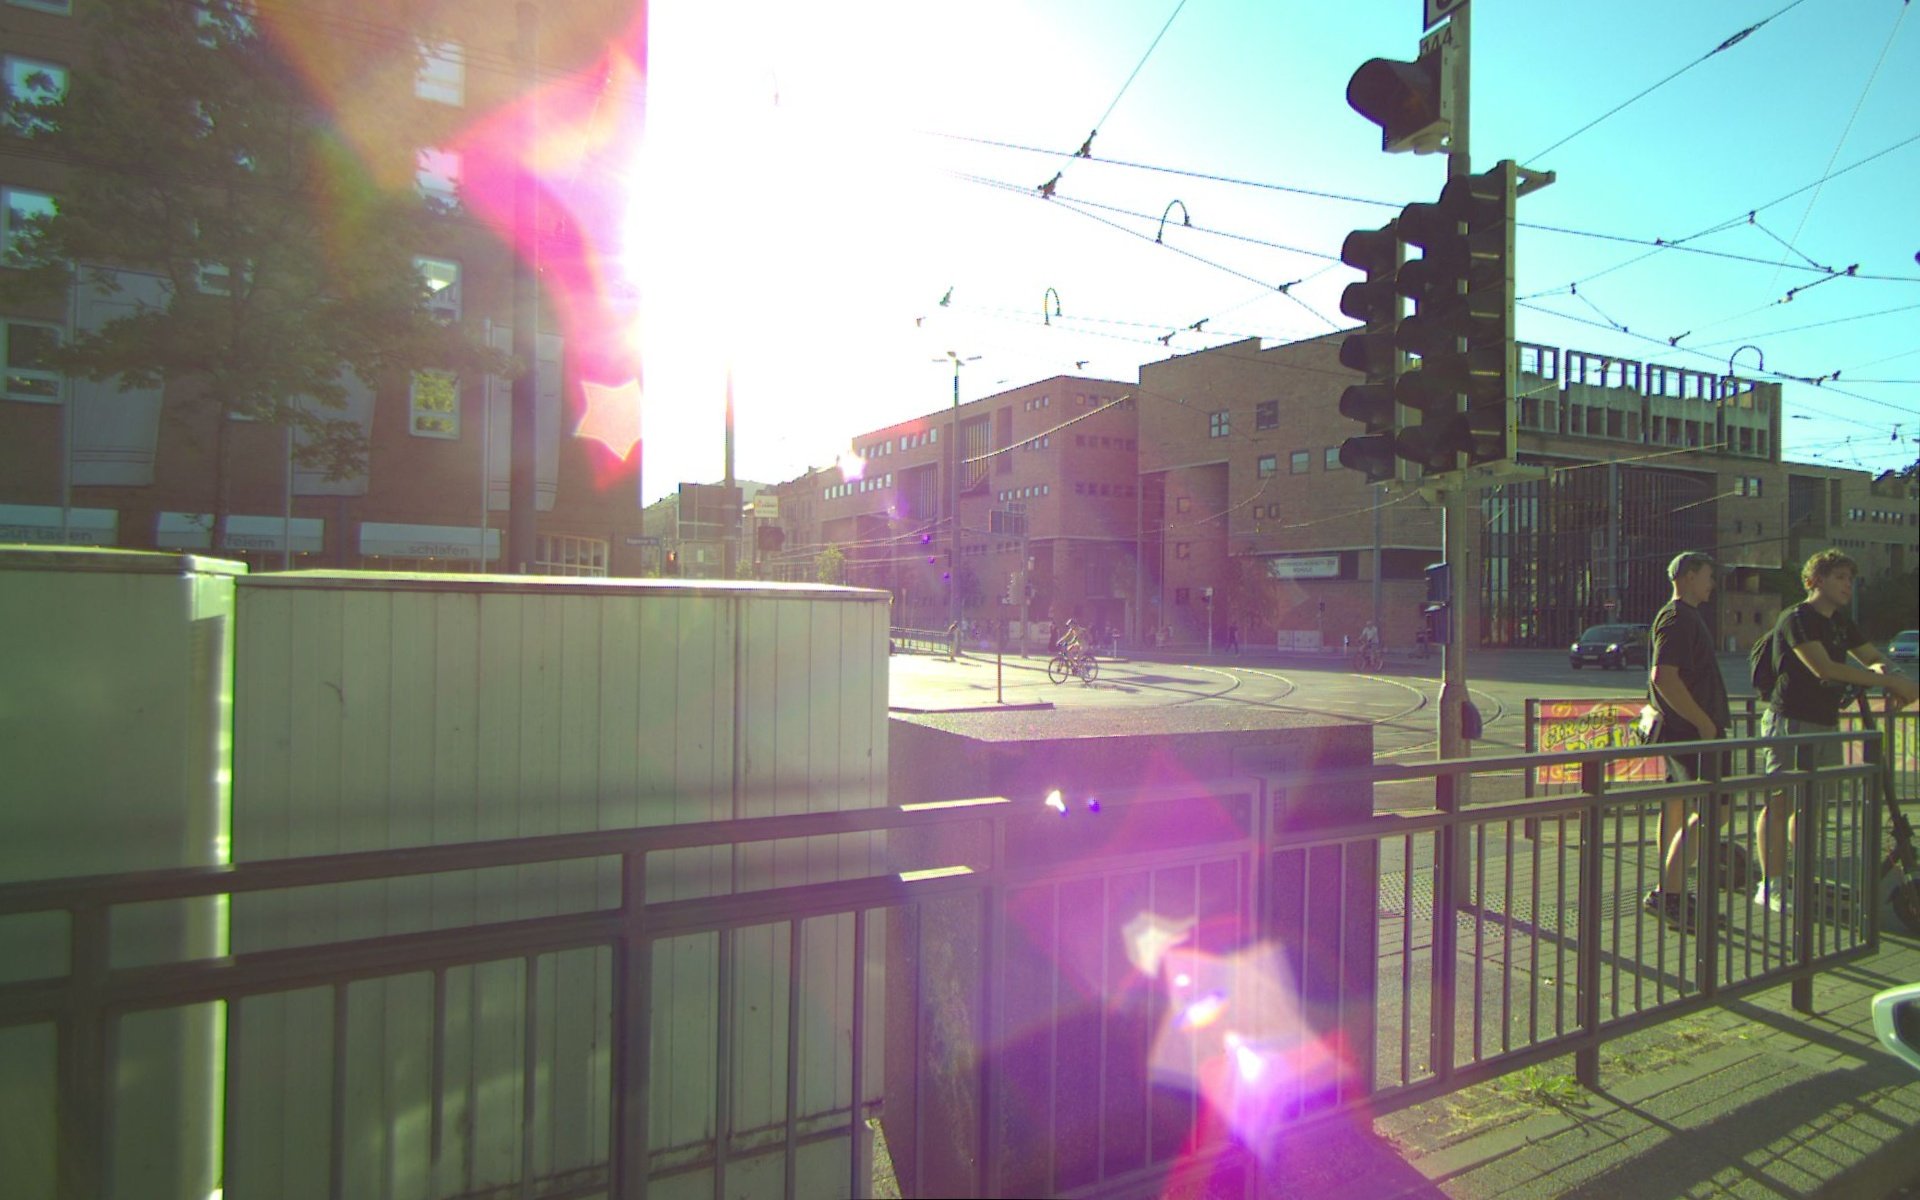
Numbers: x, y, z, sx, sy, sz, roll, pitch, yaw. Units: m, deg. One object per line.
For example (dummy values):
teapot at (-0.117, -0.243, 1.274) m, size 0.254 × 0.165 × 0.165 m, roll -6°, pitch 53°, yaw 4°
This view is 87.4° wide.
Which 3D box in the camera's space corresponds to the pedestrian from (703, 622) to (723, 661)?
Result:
pedestrian at (-11.729, 1.956, 47.663) m, size 0.597 × 1.843 × 0.848 m, roll 1°, pitch -1°, yaw -38°

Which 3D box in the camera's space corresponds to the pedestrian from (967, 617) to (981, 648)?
pedestrian at (0.934, 2.178, 67.288) m, size 0.644 × 2.040 × 0.780 m, roll 1°, pitch -1°, yaw -32°

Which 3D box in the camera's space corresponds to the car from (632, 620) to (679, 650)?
car at (-18.209, 2.063, 59.973) m, size 1.738 × 1.750 × 3.965 m, roll 1°, pitch -2°, yaw -32°

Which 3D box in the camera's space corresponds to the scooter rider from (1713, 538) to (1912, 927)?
scooter rider at (4.457, 0.655, 5.261) m, size 0.670 × 1.877 × 0.564 m, roll 3°, pitch -2°, yaw -25°

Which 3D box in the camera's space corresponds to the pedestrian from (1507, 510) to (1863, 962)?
pedestrian at (3.517, 0.593, 4.963) m, size 0.843 × 1.908 × 1.164 m, roll 1°, pitch -1°, yaw -25°

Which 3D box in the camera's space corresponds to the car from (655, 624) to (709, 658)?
car at (-15.222, 2.216, 54.936) m, size 1.739 × 1.750 × 3.963 m, roll 1°, pitch -2°, yaw -33°

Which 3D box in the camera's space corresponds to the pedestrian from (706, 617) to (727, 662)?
pedestrian at (-11.101, 1.783, 45.760) m, size 0.597 × 2.040 × 0.848 m, roll 1°, pitch -1°, yaw -38°

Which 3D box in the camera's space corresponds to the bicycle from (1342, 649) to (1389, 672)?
bicycle at (14.296, 2.124, 35.378) m, size 1.948 × 0.781 × 0.586 m, roll 1°, pitch -2°, yaw -35°

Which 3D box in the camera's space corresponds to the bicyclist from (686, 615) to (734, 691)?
bicyclist at (-5.333, 1.115, 21.425) m, size 0.751 × 1.581 × 0.677 m, roll -1°, pitch 0°, yaw -36°

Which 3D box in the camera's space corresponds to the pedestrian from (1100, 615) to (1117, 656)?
pedestrian at (7.357, 1.743, 49.714) m, size 0.603 × 2.040 × 0.731 m, roll 0°, pitch -1°, yaw 30°

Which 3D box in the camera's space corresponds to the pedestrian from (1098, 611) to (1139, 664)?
pedestrian at (6.312, 1.484, 39.976) m, size 1.193 × 2.040 × 1.028 m, roll 2°, pitch 0°, yaw -30°

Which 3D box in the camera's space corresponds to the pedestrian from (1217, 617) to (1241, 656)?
pedestrian at (13.406, 1.804, 50.016) m, size 0.866 × 1.927 × 0.718 m, roll 2°, pitch 0°, yaw -33°

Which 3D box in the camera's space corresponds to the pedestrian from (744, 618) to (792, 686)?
pedestrian at (-5.369, 1.436, 28.109) m, size 0.938 × 1.822 × 0.993 m, roll 2°, pitch 0°, yaw 15°

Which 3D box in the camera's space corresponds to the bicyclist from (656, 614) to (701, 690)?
bicyclist at (-6.101, 1.119, 21.788) m, size 0.752 × 1.595 × 0.656 m, roll 1°, pitch -2°, yaw -37°

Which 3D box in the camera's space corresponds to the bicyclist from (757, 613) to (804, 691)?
bicyclist at (-3.764, 1.084, 21.074) m, size 0.752 × 1.590 × 0.656 m, roll 1°, pitch -2°, yaw -37°

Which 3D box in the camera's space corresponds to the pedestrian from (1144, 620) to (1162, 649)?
pedestrian at (14.027, 2.485, 72.878) m, size 0.841 × 2.079 × 1.001 m, roll 1°, pitch -1°, yaw -32°

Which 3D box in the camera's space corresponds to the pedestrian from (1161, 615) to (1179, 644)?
pedestrian at (15.421, 2.184, 73.748) m, size 0.841 × 2.079 × 1.001 m, roll 1°, pitch -1°, yaw -32°

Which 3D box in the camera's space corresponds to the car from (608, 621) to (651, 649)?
car at (-21.390, 2.221, 65.000) m, size 1.738 × 1.750 × 3.965 m, roll 1°, pitch -2°, yaw -32°

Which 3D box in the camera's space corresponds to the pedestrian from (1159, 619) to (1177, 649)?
pedestrian at (14.838, 2.415, 71.717) m, size 0.841 × 2.079 × 1.001 m, roll 1°, pitch -1°, yaw -32°

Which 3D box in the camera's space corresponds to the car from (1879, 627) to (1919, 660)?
car at (48.926, 2.220, 51.753) m, size 3.962 × 1.598 × 1.610 m, roll 1°, pitch -2°, yaw -36°

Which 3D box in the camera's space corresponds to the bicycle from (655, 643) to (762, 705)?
bicycle at (-5.339, 1.549, 21.407) m, size 2.090 × 1.157 × 0.680 m, roll -1°, pitch 0°, yaw -36°

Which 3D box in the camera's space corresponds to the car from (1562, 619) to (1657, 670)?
car at (25.049, 1.687, 38.697) m, size 3.964 × 1.786 × 1.854 m, roll 1°, pitch 0°, yaw -37°

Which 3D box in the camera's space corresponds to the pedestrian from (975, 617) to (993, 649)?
pedestrian at (1.571, 2.141, 65.327) m, size 0.917 × 2.010 × 0.780 m, roll 1°, pitch -1°, yaw -32°

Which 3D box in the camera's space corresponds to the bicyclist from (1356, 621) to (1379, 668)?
bicyclist at (14.363, 1.572, 35.426) m, size 0.509 × 1.647 × 0.583 m, roll 1°, pitch -1°, yaw -34°

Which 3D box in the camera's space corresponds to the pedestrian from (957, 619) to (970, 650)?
pedestrian at (0.229, 2.302, 67.387) m, size 0.607 × 2.040 × 0.727 m, roll 1°, pitch -1°, yaw -32°

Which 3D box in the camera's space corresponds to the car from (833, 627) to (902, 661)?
car at (-4.805, 2.236, 51.809) m, size 1.978 × 1.709 × 3.965 m, roll 1°, pitch -2°, yaw -33°

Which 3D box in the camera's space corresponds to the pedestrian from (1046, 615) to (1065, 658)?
pedestrian at (4.526, 1.736, 47.695) m, size 0.604 × 2.040 × 0.730 m, roll 0°, pitch -1°, yaw 38°

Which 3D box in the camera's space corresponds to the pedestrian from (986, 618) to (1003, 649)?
pedestrian at (2.260, 2.164, 65.800) m, size 0.742 × 2.010 × 0.780 m, roll 1°, pitch -1°, yaw -32°

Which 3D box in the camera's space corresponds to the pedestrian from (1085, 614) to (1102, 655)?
pedestrian at (6.658, 1.705, 49.984) m, size 0.603 × 2.040 × 0.731 m, roll 0°, pitch -1°, yaw 30°

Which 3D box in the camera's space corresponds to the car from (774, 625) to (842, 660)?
car at (-7.795, 2.142, 51.184) m, size 1.978 × 1.709 × 3.965 m, roll 1°, pitch -2°, yaw -33°

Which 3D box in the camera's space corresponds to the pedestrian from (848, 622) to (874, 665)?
pedestrian at (-4.126, 1.800, 41.839) m, size 0.857 × 1.775 × 0.672 m, roll 1°, pitch -1°, yaw -30°

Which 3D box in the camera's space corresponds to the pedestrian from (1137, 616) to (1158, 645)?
pedestrian at (13.331, 2.201, 71.520) m, size 0.902 × 2.040 × 1.151 m, roll 1°, pitch -1°, yaw -34°

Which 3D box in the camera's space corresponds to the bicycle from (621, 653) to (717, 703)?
bicycle at (-6.257, 1.657, 21.664) m, size 1.884 × 1.011 × 0.648 m, roll 1°, pitch -2°, yaw -37°

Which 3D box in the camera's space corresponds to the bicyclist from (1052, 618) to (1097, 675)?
bicyclist at (3.103, 1.258, 27.271) m, size 1.022 × 1.494 × 0.649 m, roll 2°, pitch -1°, yaw -35°

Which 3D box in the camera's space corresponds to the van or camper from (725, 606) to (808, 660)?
van or camper at (-9.307, 1.567, 47.960) m, size 1.981 × 2.451 × 4.980 m, roll 1°, pitch -2°, yaw -36°

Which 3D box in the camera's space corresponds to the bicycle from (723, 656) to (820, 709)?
bicycle at (-3.919, 1.690, 20.935) m, size 1.884 × 1.011 × 0.688 m, roll 1°, pitch -2°, yaw -37°

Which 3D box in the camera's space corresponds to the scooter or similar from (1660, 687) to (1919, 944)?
scooter or similar at (4.463, 1.042, 5.219) m, size 0.639 × 1.095 × 1.199 m, roll 1°, pitch -1°, yaw -25°

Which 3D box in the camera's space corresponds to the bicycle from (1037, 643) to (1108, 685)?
bicycle at (3.067, 1.723, 27.260) m, size 1.993 × 1.064 × 0.647 m, roll 2°, pitch -1°, yaw -35°

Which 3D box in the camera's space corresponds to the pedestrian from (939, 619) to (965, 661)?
pedestrian at (-0.345, 1.730, 43.222) m, size 0.860 × 1.775 × 0.670 m, roll 1°, pitch -2°, yaw -39°
